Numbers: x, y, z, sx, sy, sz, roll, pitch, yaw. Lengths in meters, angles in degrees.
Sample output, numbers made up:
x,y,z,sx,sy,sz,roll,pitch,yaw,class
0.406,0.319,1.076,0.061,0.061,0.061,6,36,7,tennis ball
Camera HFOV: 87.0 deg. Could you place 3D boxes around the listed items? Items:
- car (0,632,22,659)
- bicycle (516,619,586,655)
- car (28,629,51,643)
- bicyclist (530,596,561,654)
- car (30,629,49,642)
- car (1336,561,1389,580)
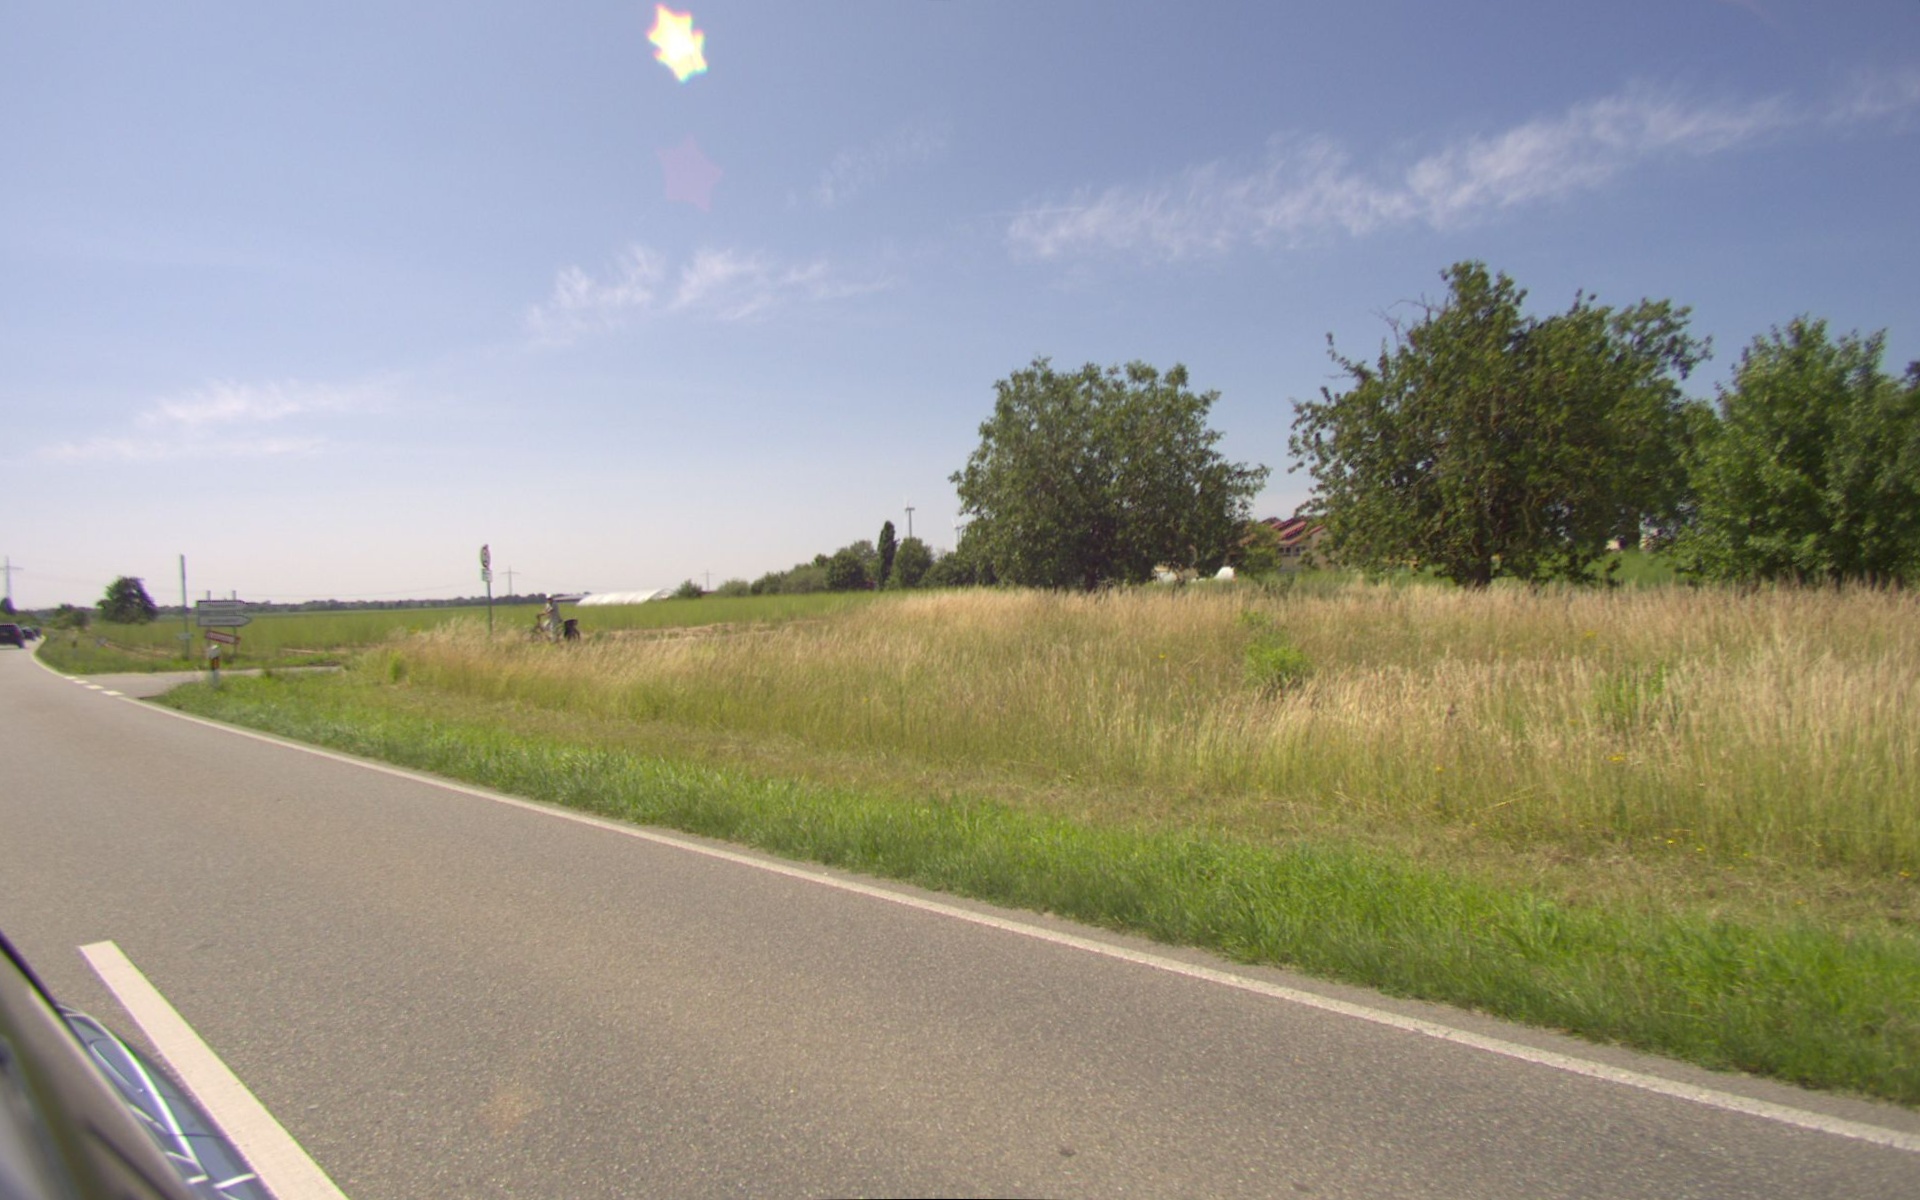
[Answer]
x,y,z,sx,sy,sz,roll,pitch,yaw,class
-66.744,3.174,70.592,1.910,1.765,5.209,0,-1,-42,car
-12.746,1.143,31.583,1.893,0.999,0.684,-3,1,-35,bicycle
-95.518,3.749,104.986,1.721,1.367,4.423,-1,-1,-42,car
-12.891,0.770,31.485,0.690,1.770,0.664,-3,1,-35,bicyclist
-114.958,4.379,126.388,1.719,1.544,4.146,-1,0,-43,car
36.183,-2.642,91.107,4.001,1.549,1.845,-1,2,44,car
